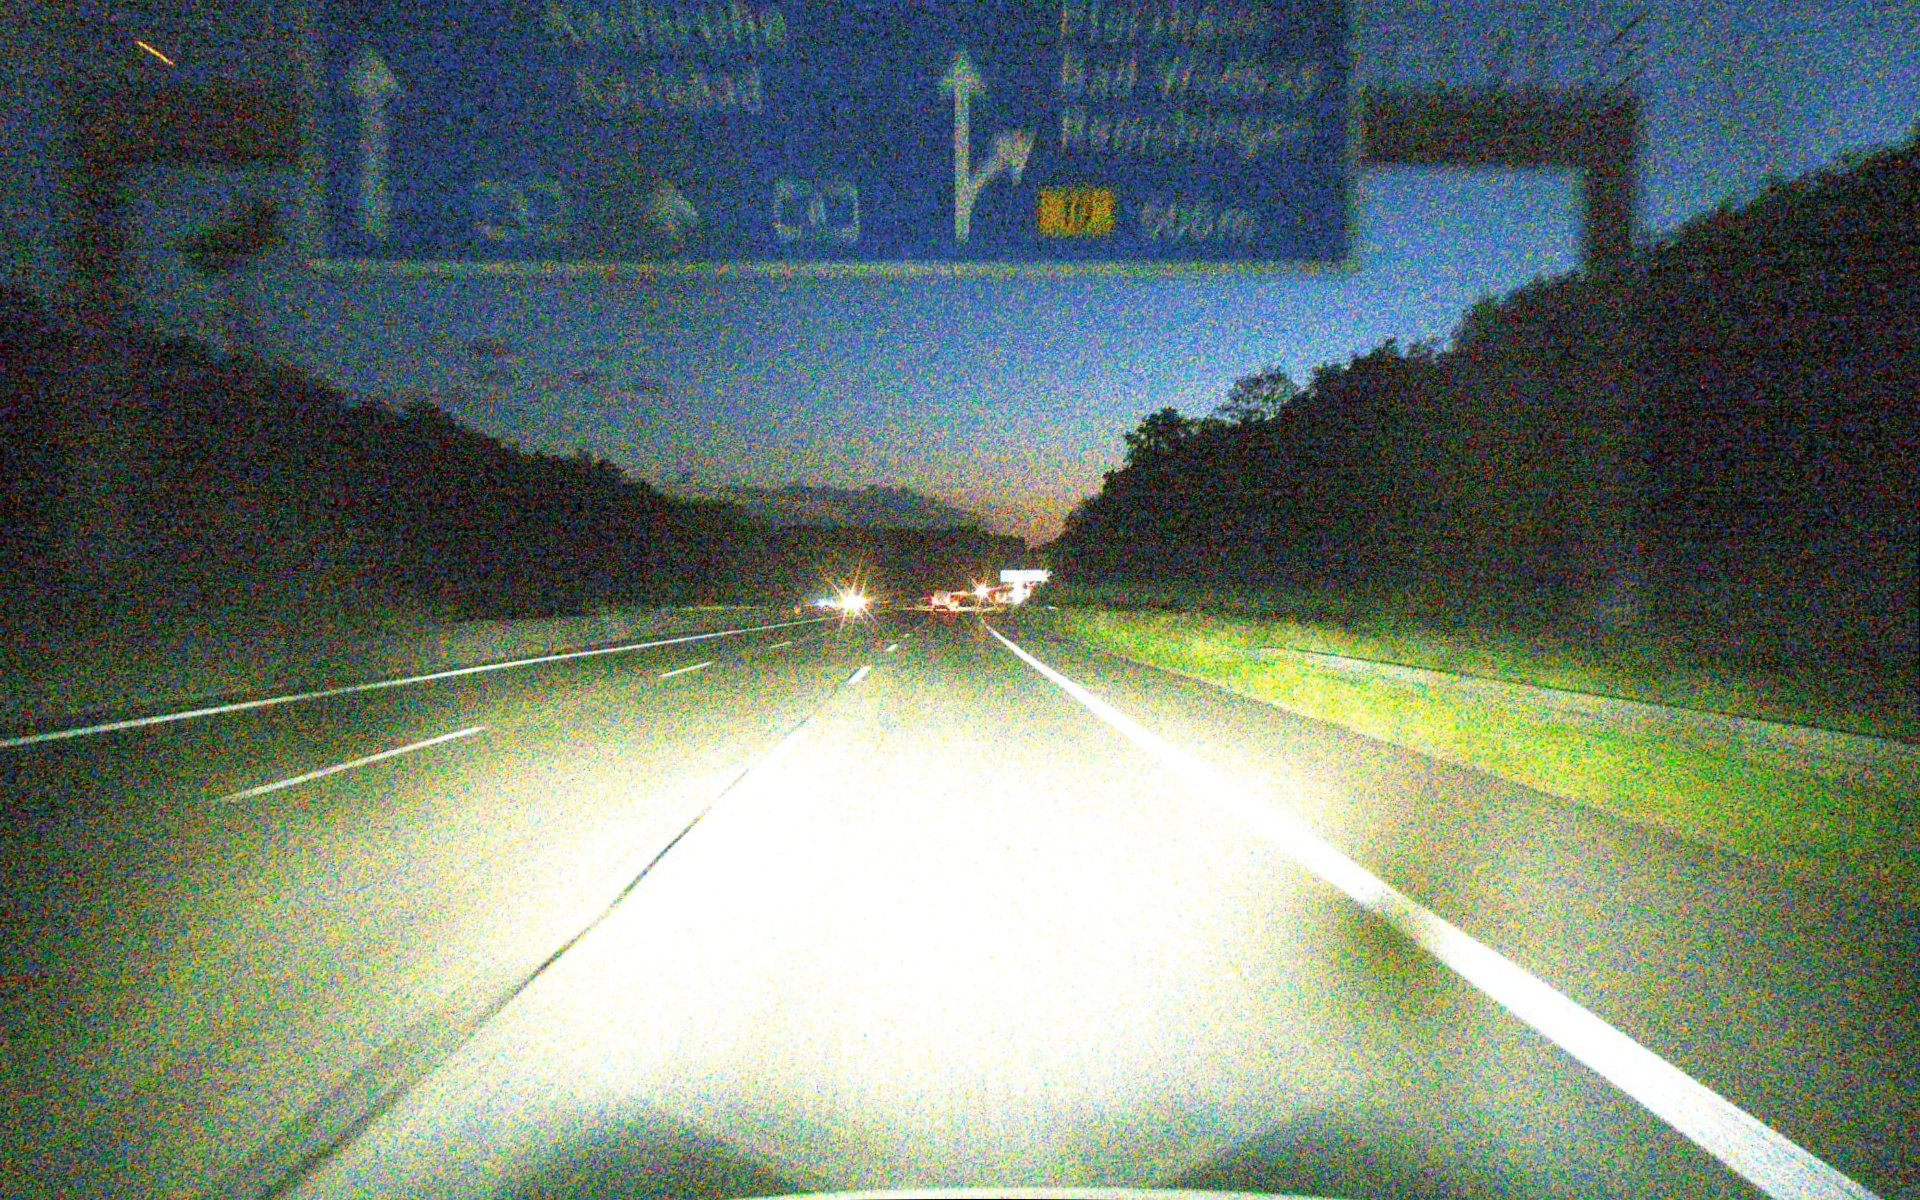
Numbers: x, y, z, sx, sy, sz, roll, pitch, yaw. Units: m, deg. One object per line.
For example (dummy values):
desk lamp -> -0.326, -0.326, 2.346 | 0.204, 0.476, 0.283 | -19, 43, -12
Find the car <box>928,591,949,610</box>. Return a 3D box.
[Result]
car -> -2.677, 0.081, 211.176 | 2.459, 2.354, 4.971 | 1, 0, 2
